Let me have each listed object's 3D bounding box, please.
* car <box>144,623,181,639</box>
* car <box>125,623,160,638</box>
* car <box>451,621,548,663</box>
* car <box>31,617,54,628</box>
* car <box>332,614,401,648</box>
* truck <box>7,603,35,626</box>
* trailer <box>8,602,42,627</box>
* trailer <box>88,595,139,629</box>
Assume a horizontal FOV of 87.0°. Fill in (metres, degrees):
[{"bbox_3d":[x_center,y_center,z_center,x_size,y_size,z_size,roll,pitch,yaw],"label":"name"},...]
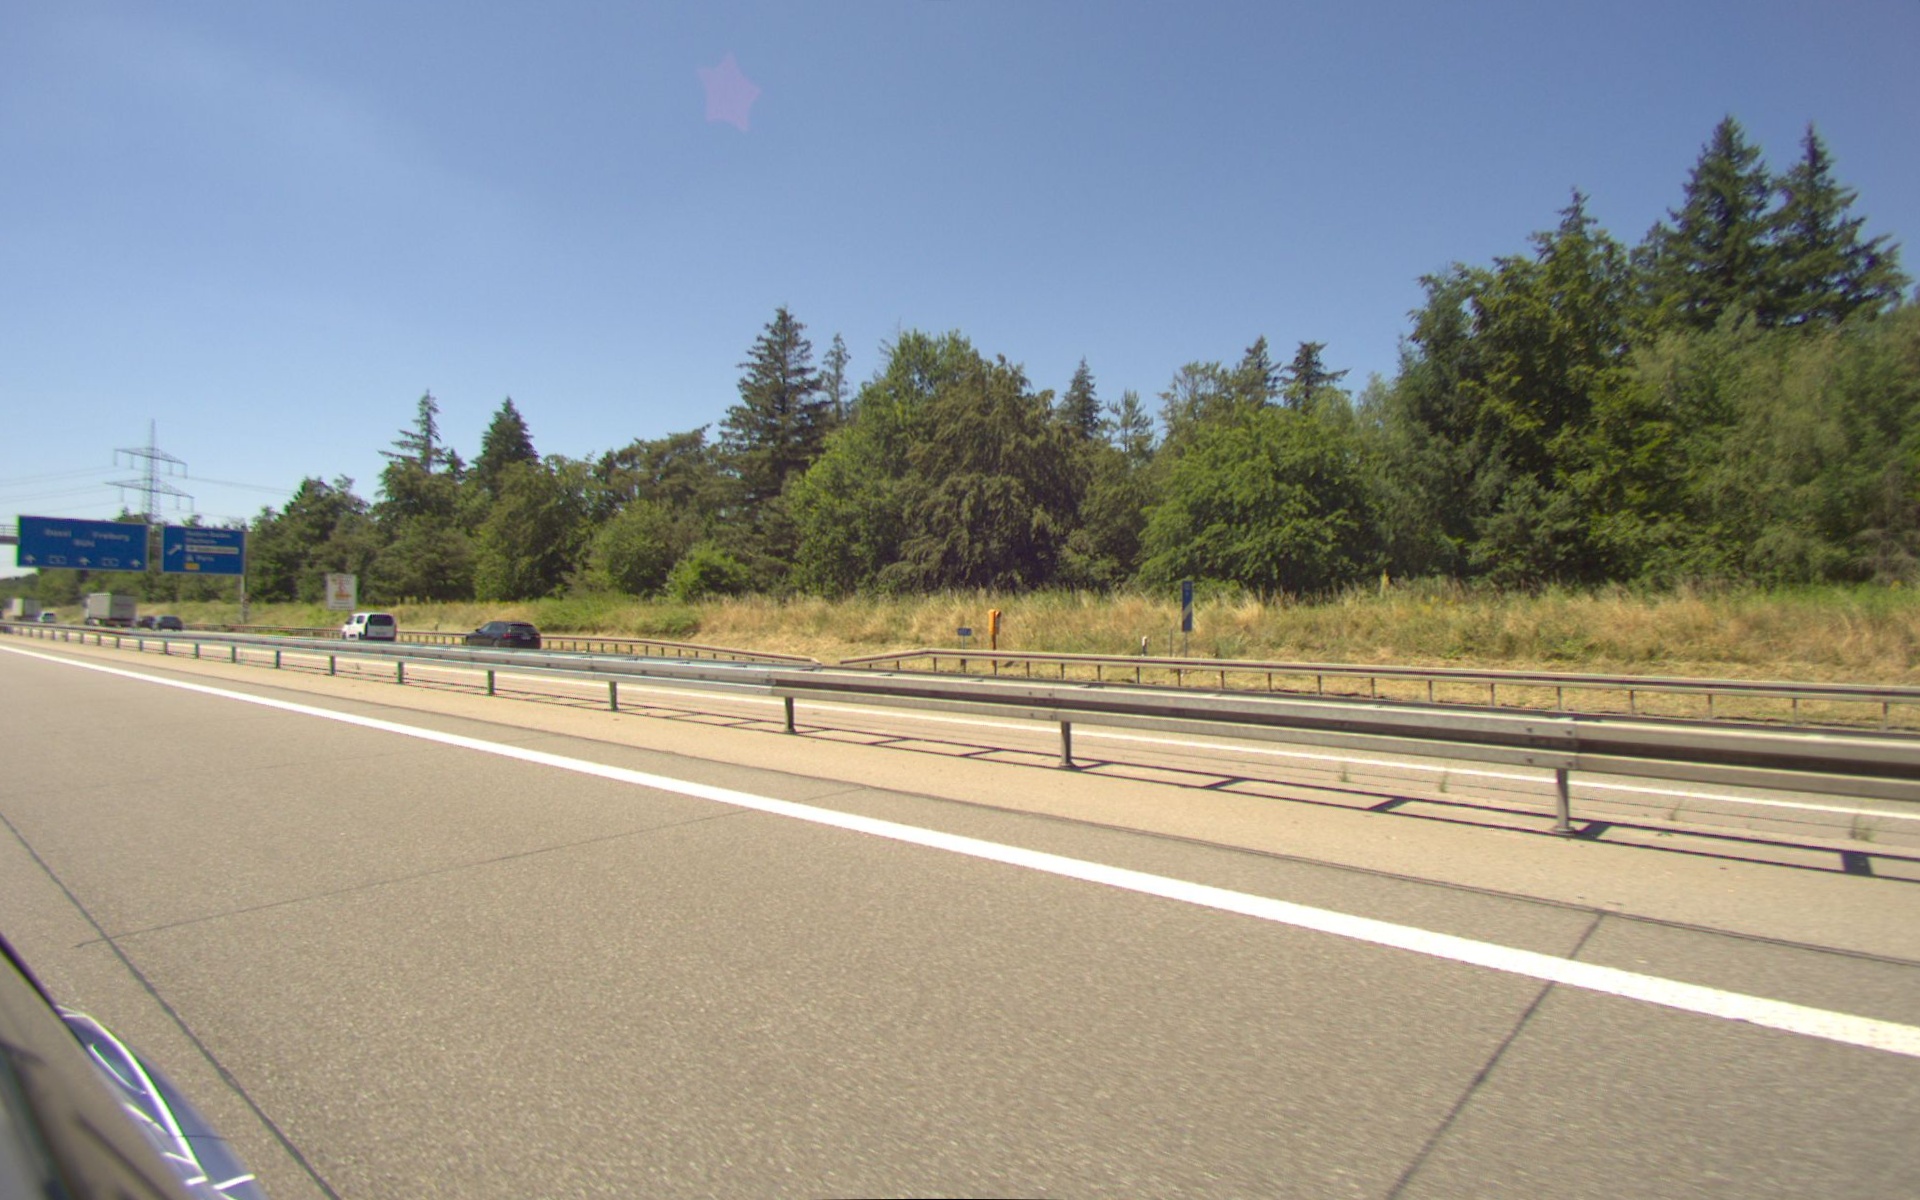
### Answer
[{"bbox_3d":[-75.568,2.908,95.894,4.940,1.474,1.906,-1,-2,41],"label":"car"},{"bbox_3d":[-88.746,3.289,109.843,4.940,1.474,2.064,1,-1,41],"label":"car"},{"bbox_3d":[-20.376,1.824,44.648,4.977,1.716,1.973,-1,-3,41],"label":"car"},{"bbox_3d":[-140.339,3.427,154.759,4.988,1.763,1.973,-1,-1,41],"label":"car"},{"bbox_3d":[-34.211,1.756,58.276,4.640,1.842,1.973,-1,-3,41],"label":"car"},{"bbox_3d":[-165.539,2.526,178.453,6.215,4.048,3.179,-1,-1,43],"label":"truck"},{"bbox_3d":[-161.057,2.448,174.229,14.360,4.073,3.179,-1,-1,43],"label":"trailer"},{"bbox_3d":[-104.925,1.493,125.319,13.964,3.960,3.133,-1,-1,43],"label":"trailer"}]
